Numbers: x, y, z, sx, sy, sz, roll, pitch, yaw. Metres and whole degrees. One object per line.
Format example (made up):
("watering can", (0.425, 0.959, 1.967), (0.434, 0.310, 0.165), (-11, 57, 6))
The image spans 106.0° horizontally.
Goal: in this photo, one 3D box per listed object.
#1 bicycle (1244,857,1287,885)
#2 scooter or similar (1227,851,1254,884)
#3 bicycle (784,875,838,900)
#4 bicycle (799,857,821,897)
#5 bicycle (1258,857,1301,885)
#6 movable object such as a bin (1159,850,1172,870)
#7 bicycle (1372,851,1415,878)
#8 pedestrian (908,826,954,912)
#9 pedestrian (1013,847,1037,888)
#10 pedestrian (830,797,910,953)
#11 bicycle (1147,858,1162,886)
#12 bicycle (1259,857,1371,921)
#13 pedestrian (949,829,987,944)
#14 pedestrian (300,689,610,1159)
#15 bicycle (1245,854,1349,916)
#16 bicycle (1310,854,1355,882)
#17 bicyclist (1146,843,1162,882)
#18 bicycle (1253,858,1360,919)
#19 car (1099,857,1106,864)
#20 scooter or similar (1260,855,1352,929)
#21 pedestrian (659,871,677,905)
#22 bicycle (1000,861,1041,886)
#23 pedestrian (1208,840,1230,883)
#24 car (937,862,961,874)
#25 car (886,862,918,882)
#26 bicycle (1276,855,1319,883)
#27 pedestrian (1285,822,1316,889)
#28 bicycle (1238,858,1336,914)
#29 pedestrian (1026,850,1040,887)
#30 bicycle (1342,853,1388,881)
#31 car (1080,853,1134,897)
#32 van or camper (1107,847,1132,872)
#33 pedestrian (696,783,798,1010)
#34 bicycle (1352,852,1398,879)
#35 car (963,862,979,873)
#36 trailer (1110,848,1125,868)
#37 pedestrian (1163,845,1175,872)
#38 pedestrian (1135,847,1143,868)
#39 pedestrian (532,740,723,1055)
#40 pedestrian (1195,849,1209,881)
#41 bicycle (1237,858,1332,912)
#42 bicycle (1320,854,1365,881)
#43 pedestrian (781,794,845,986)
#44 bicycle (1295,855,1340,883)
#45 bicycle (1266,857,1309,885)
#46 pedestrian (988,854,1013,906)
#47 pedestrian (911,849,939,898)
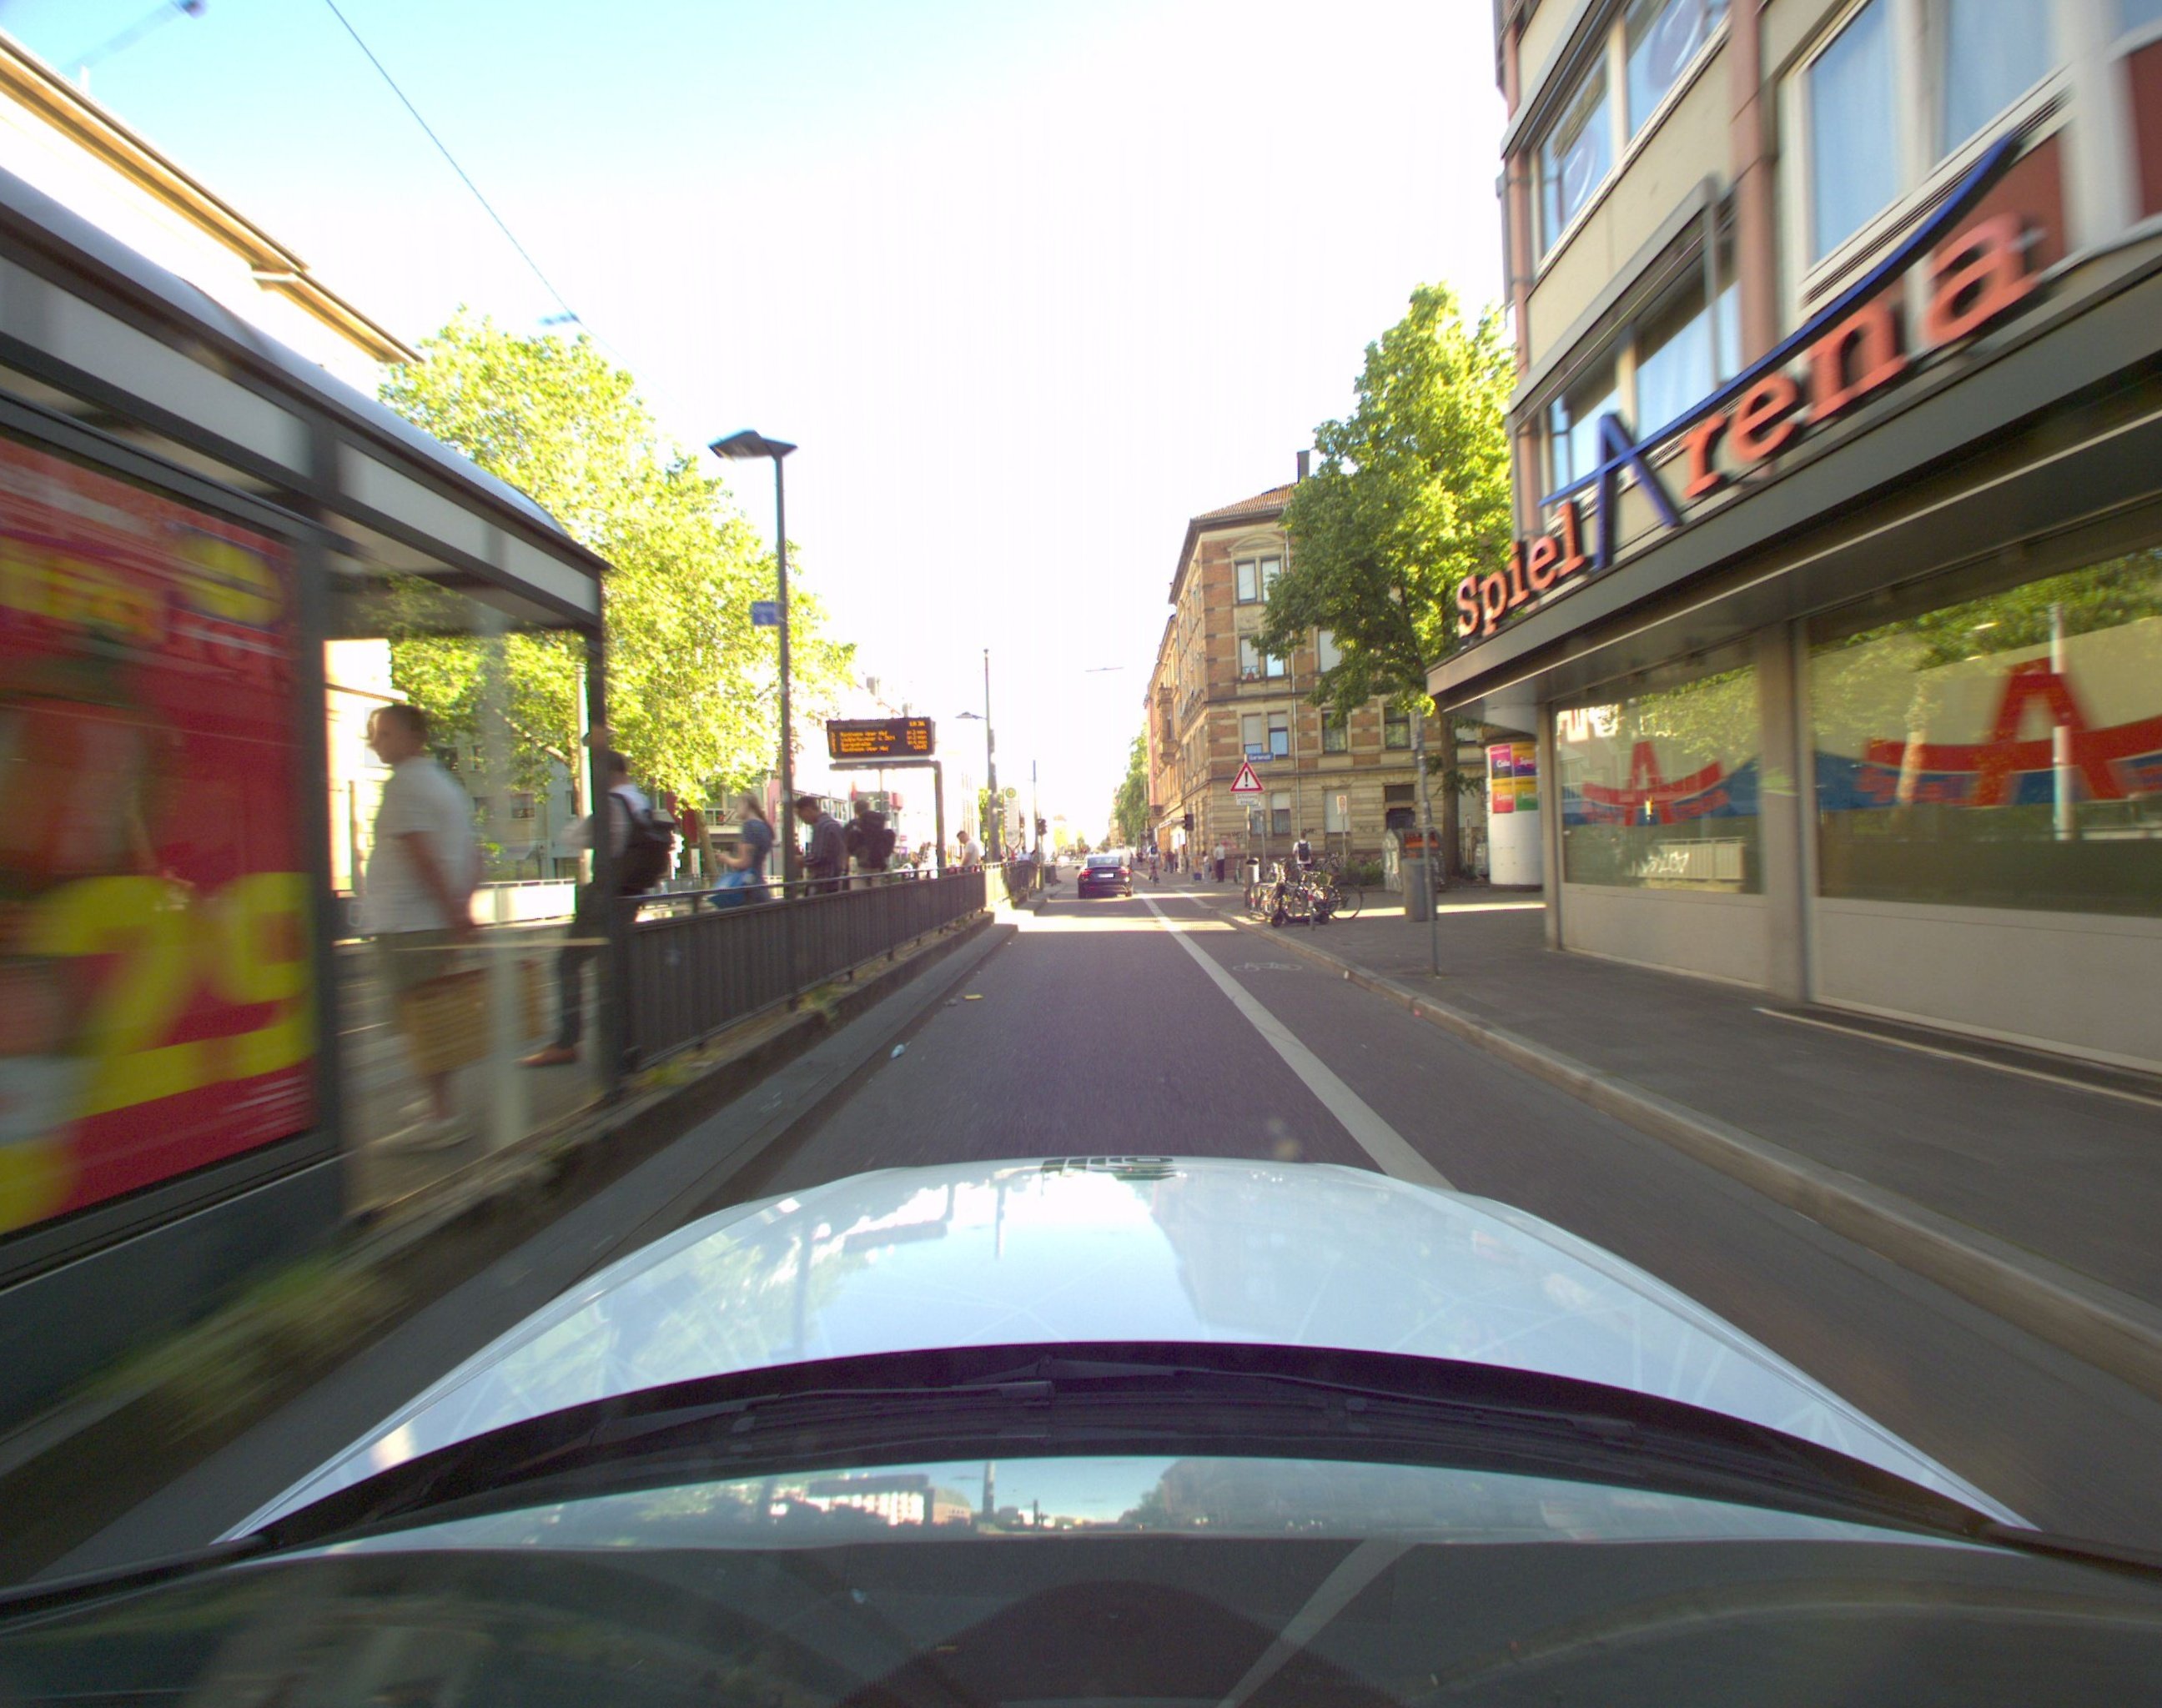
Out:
("bicycle", (7.560, 0.702, 33.514), (0.446, 1.115, 1.793), (-2, 0, -39))
("scooter or similar", (6.473, 0.539, 33.127), (0.391, 1.289, 1.515), (-2, 0, -14))
("bicycle", (-11.795, 1.460, 35.666), (0.639, 0.966, 2.184), (-2, 0, 40))
("bicycle", (-11.864, 1.026, 35.647), (0.639, 1.716, 0.587), (-2, 0, 40))
("bicycle", (8.154, 0.698, 33.554), (0.446, 1.115, 1.793), (-2, 0, -39))
("movable object such as a bin", (6.000, 0.432, 57.951), (0.773, 1.347, 1.299), (-2, -1, 0))
("bicycle", (13.193, 0.455, 34.417), (0.446, 1.115, 1.797), (-2, 0, -31))
("pedestrian", (-3.114, 0.304, 16.945), (0.760, 1.734, 0.590), (-2, 0, 1))
("pedestrian", (-2.549, 0.606, 37.105), (0.587, 1.821, 0.948), (-1, 0, 34))
("pedestrian", (-2.624, 0.247, 10.090), (0.775, 1.831, 0.796), (0, -1, -29))
("bicycle", (3.192, 0.761, 35.483), (0.644, 1.139, 2.098), (-1, 0, 5))
("bicycle", (4.476, 0.661, 15.637), (1.940, 1.107, 0.564), (-3, 0, -1))
("pedestrian", (-2.138, 0.603, 15.476), (0.536, 2.120, 0.807), (-2, 0, 0))
("pedestrian", (-2.598, 0.263, 3.474), (0.687, 1.765, 0.748), (-2, 0, 0))
("bicycle", (4.470, 0.626, 16.906), (1.940, 1.166, 0.628), (-3, 0, -1))
("bicycle", (10.456, 0.578, 33.927), (0.447, 1.115, 1.793), (-2, 0, -40))
("bicyclist", (3.192, 0.384, 35.598), (0.652, 1.656, 0.928), (-2, -1, 4))
("bicycle", (4.476, 0.669, 16.251), (1.940, 1.107, 0.564), (-3, 0, -1))
("car", (5.024, 1.506, 192.852), (1.587, 1.433, 3.688), (-3, -1, 2))
("scooter or similar", (4.120, 0.689, 14.984), (1.473, 1.229, 0.592), (-4, 0, 1))
("pedestrian", (-20.414, 1.673, 40.210), (0.693, 1.636, 0.669), (-2, -1, -32))
("bicycle", (-2.777, 0.889, 37.263), (1.920, 1.094, 0.602), (1, 0, 34))
("pedestrian", (6.030, 0.327, 35.563), (0.843, 1.807, 0.877), (-2, 1, 6))
("car", (-15.389, 1.674, 95.342), (1.954, 1.325, 4.820), (-1, 0, 0))
("car", (-15.725, 1.561, 71.909), (1.912, 1.614, 4.367), (-2, 0, -2))
("bicycle", (9.021, 0.625, 34.010), (0.447, 1.115, 1.793), (-2, 0, -40))
("pedestrian", (6.762, 0.055, 25.047), (0.709, 1.985, 0.948), (-2, -2, 25))
("bicycle", (4.458, 0.685, 17.666), (1.940, 1.107, 0.564), (-3, 0, -1))
("pedestrian", (-2.069, 0.614, 34.970), (0.517, 1.590, 0.665), (1, -1, -8))
("bicycle", (11.818, 0.547, 33.898), (0.447, 1.115, 1.793), (-2, 0, -40))
("car", (0.839, 0.675, 28.034), (1.714, 1.405, 3.709), (-1, 0, 0))
("van or camper", (3.347, 0.514, 71.387), (1.924, 2.037, 5.475), (-1, -1, 1))
("pedestrian", (-2.556, 0.311, 6.274), (0.492, 1.648, 0.590), (-2, 0, 0))
("bicycle", (12.275, 0.491, 34.096), (0.447, 1.115, 1.793), (-2, 0, -40))
("car", (-14.869, 1.849, 110.459), (1.653, 1.422, 3.620), (-1, 0, 1))
("trailer", (4.001, 0.469, 88.794), (1.654, 2.117, 3.845), (0, -1, 3))
("pedestrian", (5.782, 0.289, 53.260), (0.464, 1.728, 0.591), (-2, 0, 37))
("pedestrian", (5.247, 0.309, 73.693), (0.670, 1.814, 0.756), (-2, -1, 0))
("pedestrian", (-2.720, 0.245, 4.961), (0.687, 1.752, 0.748), (-2, 0, 0))
("pedestrian", (5.353, 0.475, 35.985), (0.571, 1.414, 0.582), (-1, 0, 8))
("bicycle", (4.562, 0.686, 18.317), (1.940, 1.107, 0.564), (-3, 0, -1))
("bicycle", (10.956, 0.578, 34.147), (0.447, 1.115, 1.793), (-2, 0, -40))
("pedestrian", (-2.417, 0.316, 7.383), (0.350, 1.669, 0.529), (-2, 0, 0))
("bicycle", (9.809, 0.624, 33.844), (0.447, 1.115, 1.793), (-2, 0, -40))
("bicycle", (8.552, 0.697, 33.815), (0.447, 1.115, 1.793), (-2, 0, -40))
("pedestrian", (-2.119, 0.672, 21.354), (0.475, 1.329, 0.356), (-3, 0, 30))
("pedestrian", (-5.460, 0.672, 28.478), (0.693, 1.668, 1.033), (-2, 0, 2))
